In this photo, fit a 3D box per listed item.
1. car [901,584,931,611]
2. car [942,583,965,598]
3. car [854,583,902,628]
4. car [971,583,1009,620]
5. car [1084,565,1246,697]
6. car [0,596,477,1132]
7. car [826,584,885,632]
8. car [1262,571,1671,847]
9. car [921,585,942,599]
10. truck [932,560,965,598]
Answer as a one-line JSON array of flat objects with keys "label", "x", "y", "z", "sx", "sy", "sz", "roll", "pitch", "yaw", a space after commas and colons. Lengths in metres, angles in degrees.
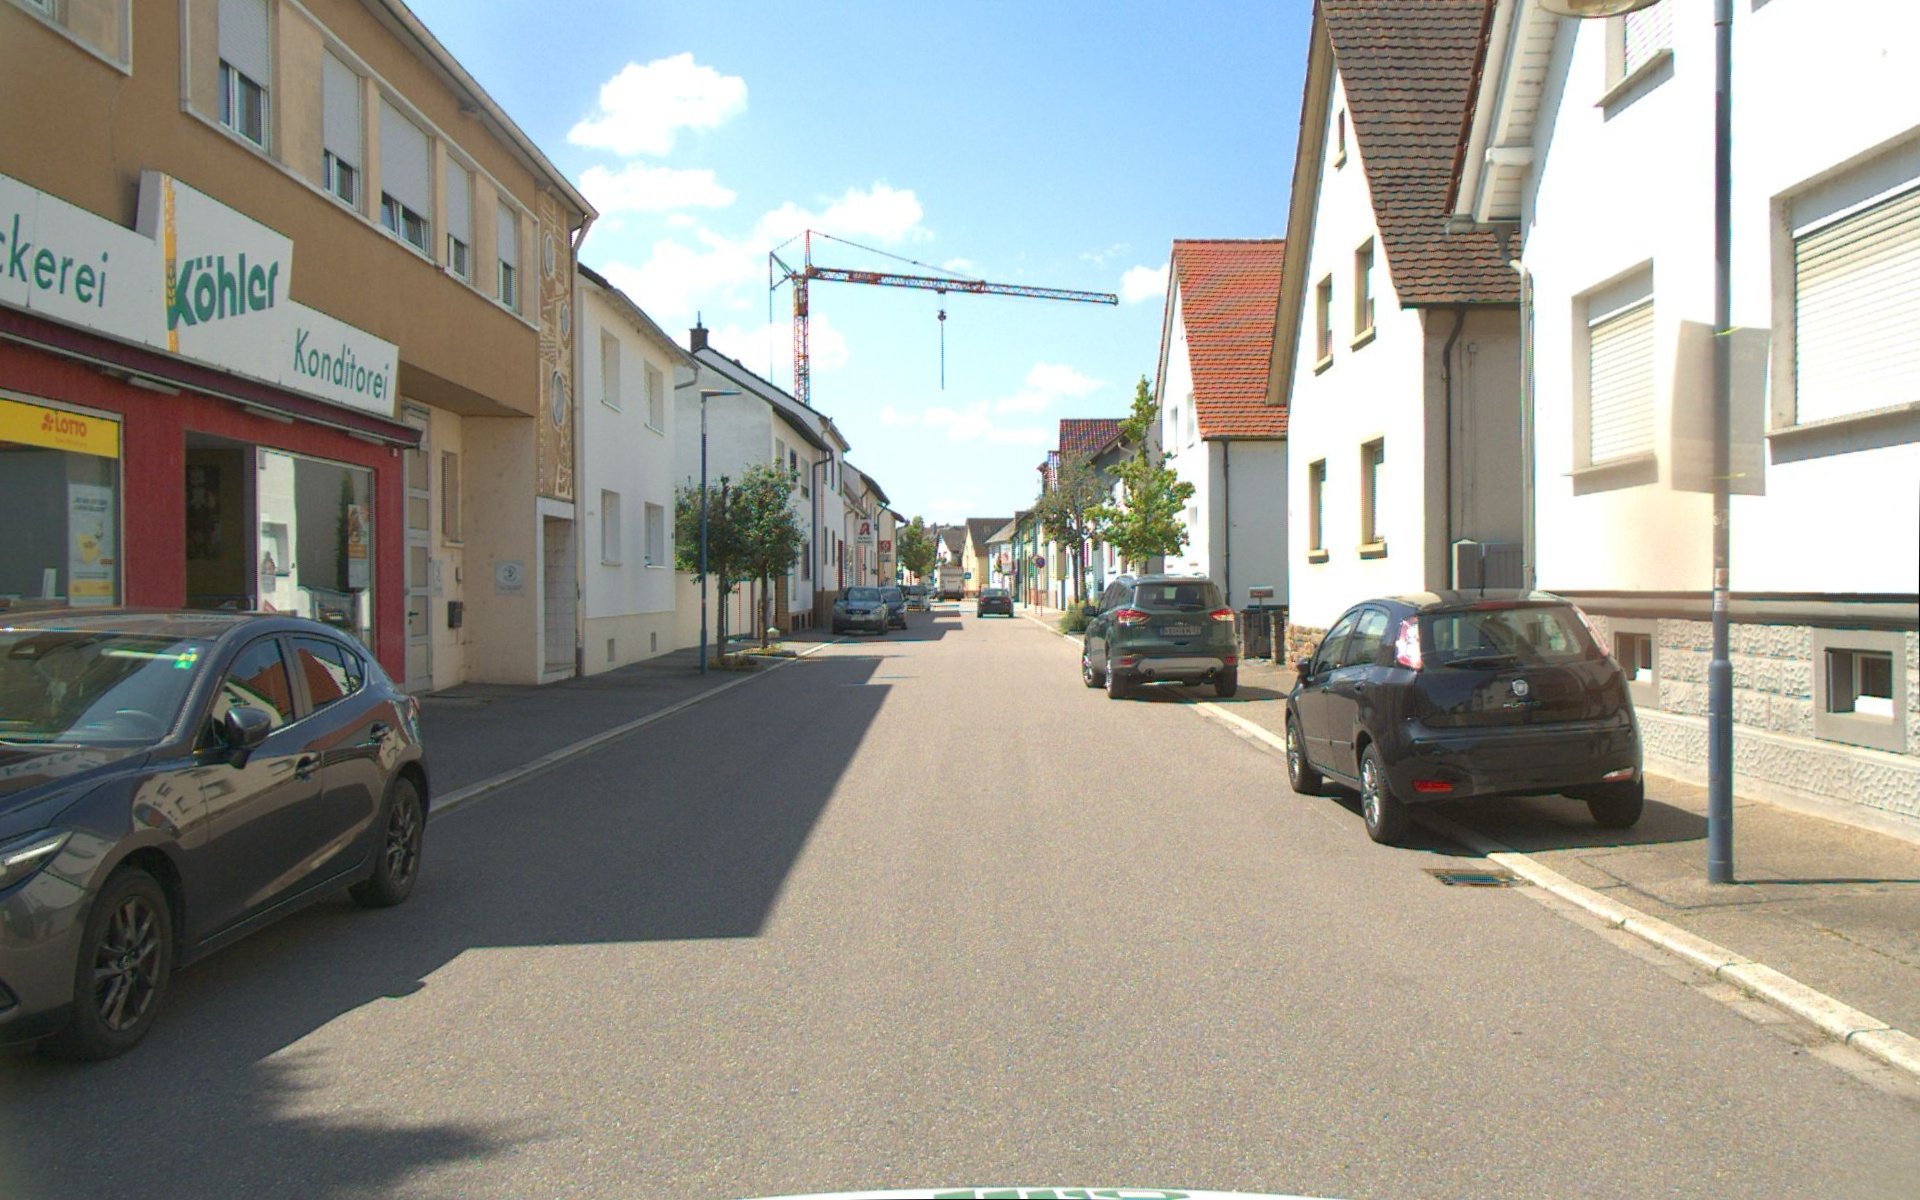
[{"label": "car", "x": -2.697, "y": -0.170, "z": 101.783, "sx": 1.687, "sy": 1.583, "sz": 4.172, "roll": 1, "pitch": 1, "yaw": 1}, {"label": "car", "x": -0.865, "y": -1.193, "z": 209.202, "sx": 1.754, "sy": 1.784, "sz": 4.209, "roll": -1, "pitch": 0, "yaw": -16}, {"label": "car", "x": -3.059, "y": 0.186, "z": 62.596, "sx": 1.619, "sy": 1.637, "sz": 4.060, "roll": -1, "pitch": 1, "yaw": -1}, {"label": "car", "x": 1.512, "y": 0.055, "z": 83.780, "sx": 1.746, "sy": 1.784, "sz": 3.999, "roll": -1, "pitch": 0, "yaw": -1}, {"label": "car", "x": 2.896, "y": 0.391, "z": 24.234, "sx": 1.694, "sy": 1.747, "sz": 4.274, "roll": -1, "pitch": 0, "yaw": -2}, {"label": "car", "x": -3.527, "y": 0.751, "z": 6.672, "sx": 1.731, "sy": 1.485, "sz": 4.437, "roll": 0, "pitch": 0, "yaw": 2}, {"label": "car", "x": -3.504, "y": 0.248, "z": 56.071, "sx": 1.722, "sy": 1.551, "sz": 4.289, "roll": -1, "pitch": 1, "yaw": -1}, {"label": "car", "x": 3.318, "y": 0.613, "z": 11.629, "sx": 1.584, "sy": 1.521, "sz": 3.971, "roll": -3, "pitch": 1, "yaw": 0}, {"label": "car", "x": -3.739, "y": -1.024, "z": 218.562, "sx": 1.791, "sy": 1.784, "sz": 4.211, "roll": -1, "pitch": 0, "yaw": -16}, {"label": "truck", "x": -1.374, "y": -2.206, "z": 181.237, "sx": 3.310, "sy": 3.933, "sz": 13.922, "roll": -1, "pitch": 0, "yaw": -1}]
